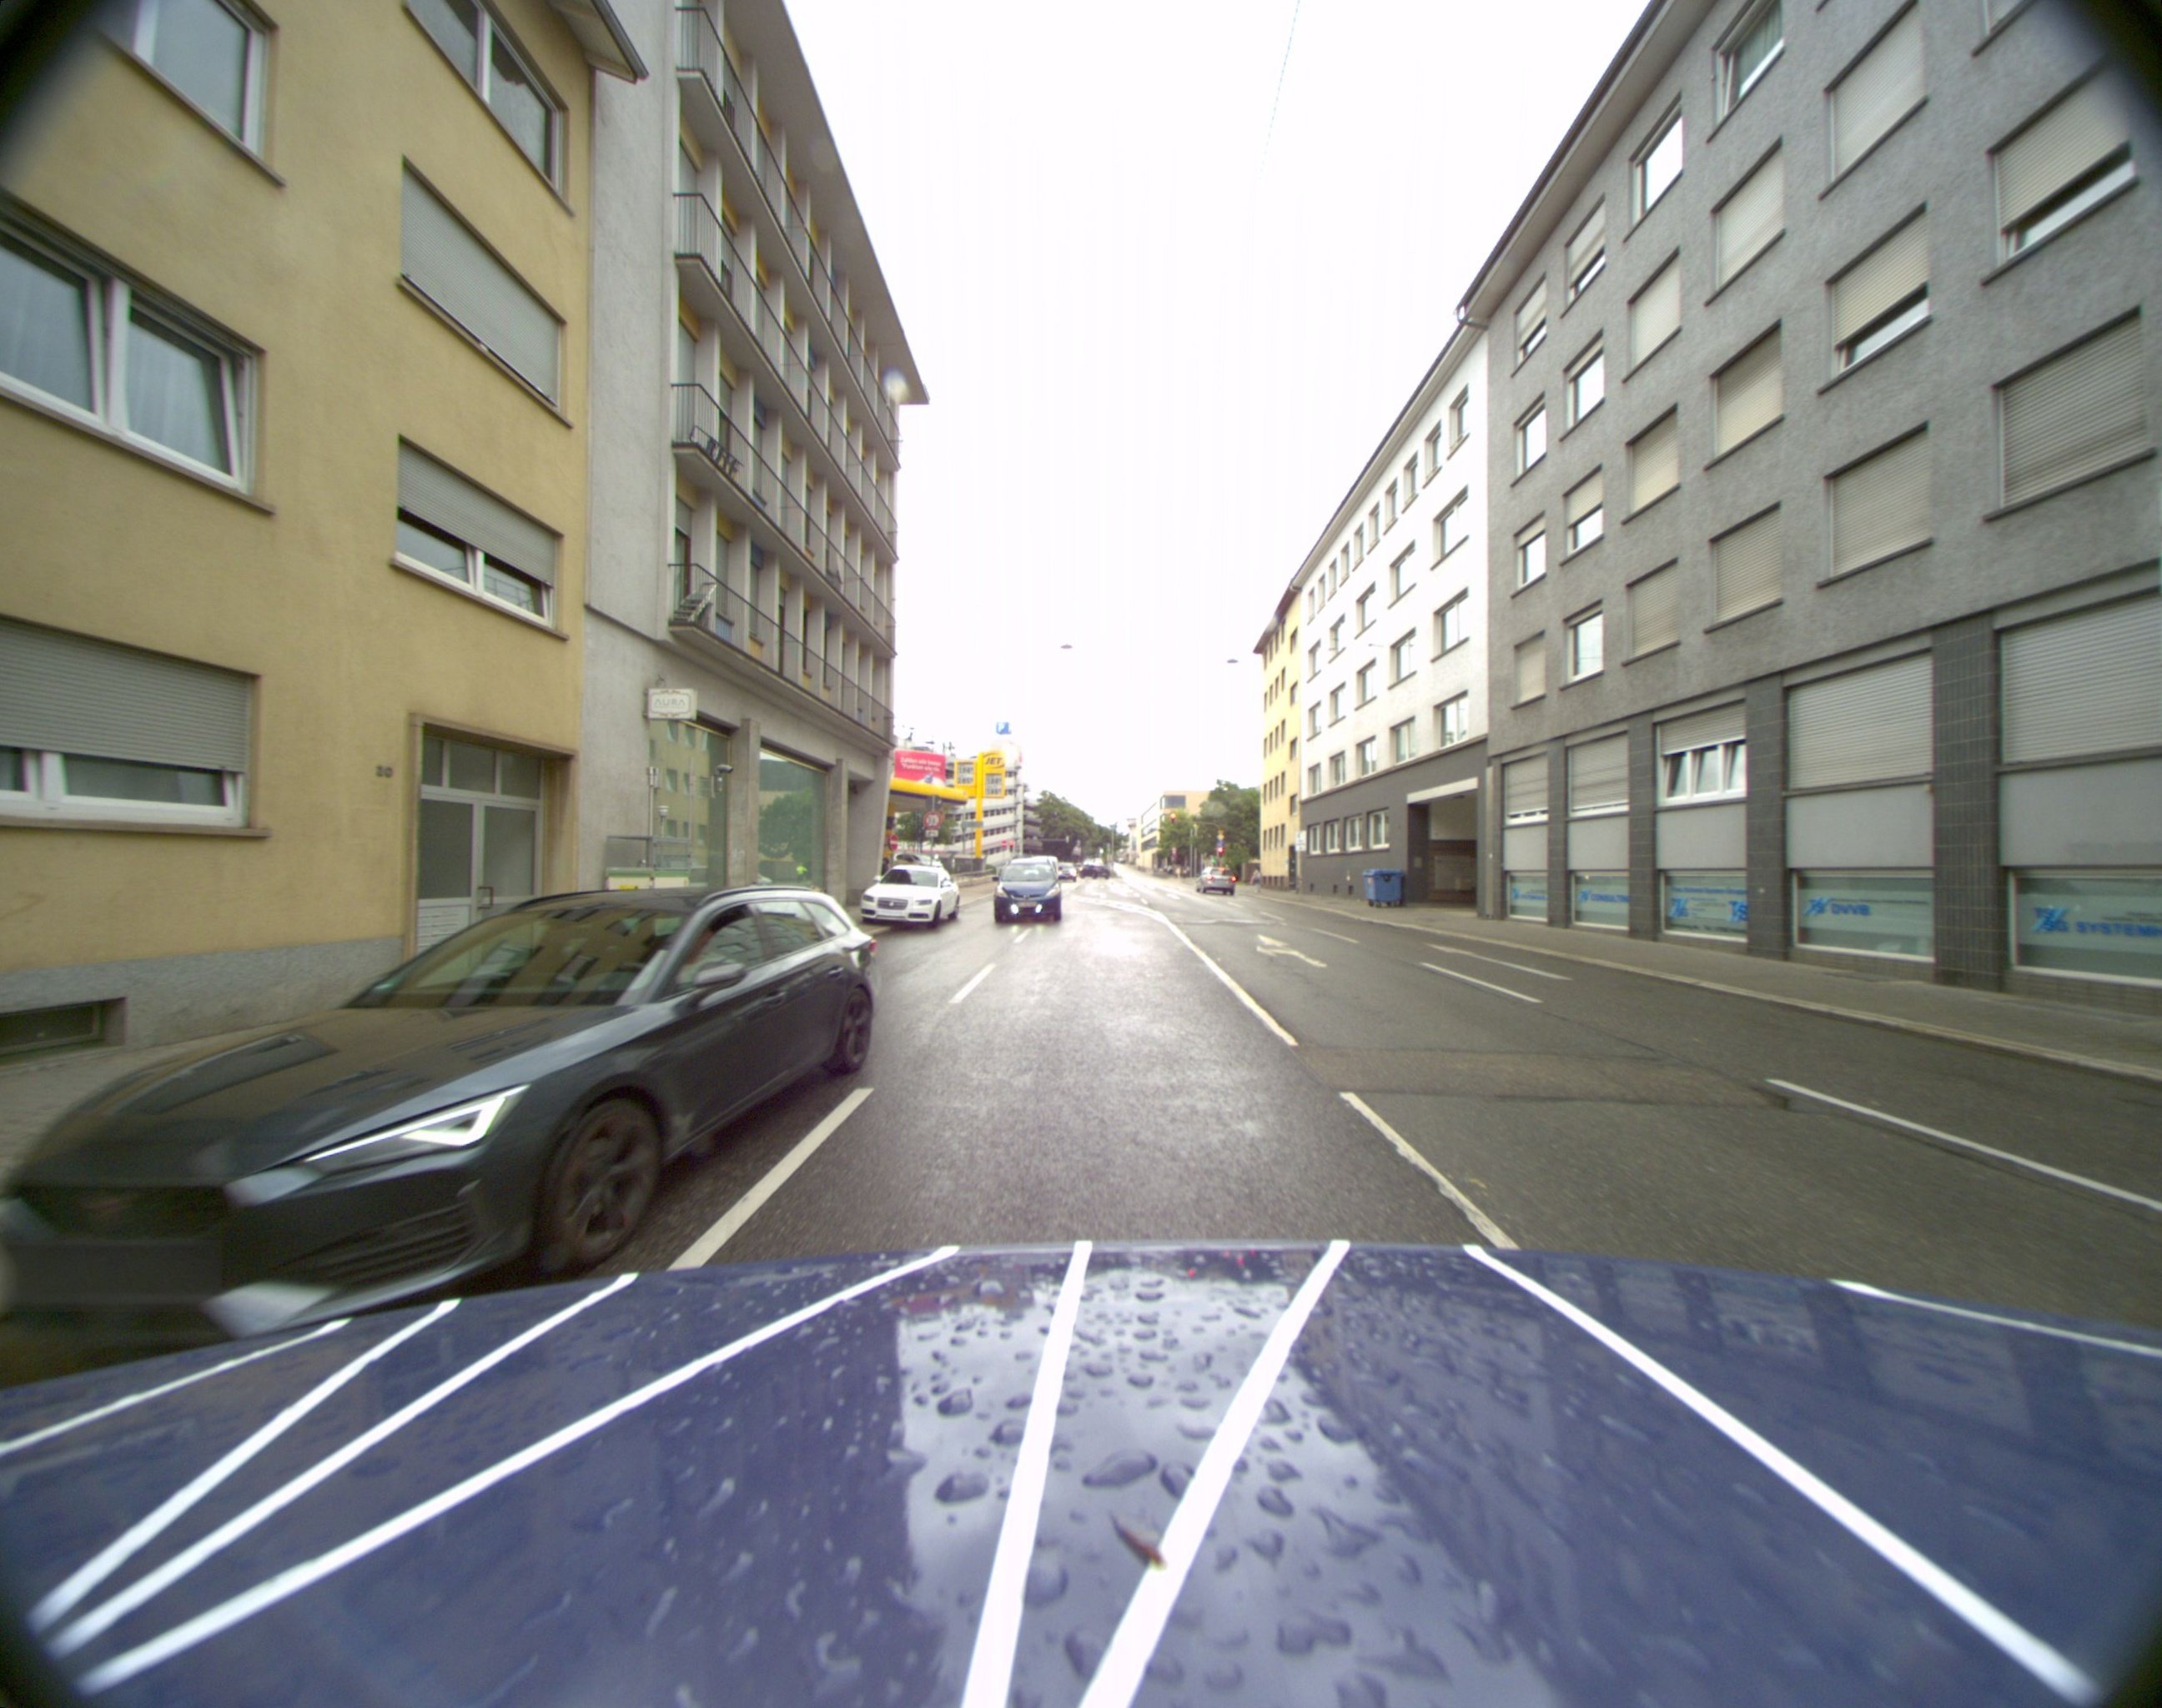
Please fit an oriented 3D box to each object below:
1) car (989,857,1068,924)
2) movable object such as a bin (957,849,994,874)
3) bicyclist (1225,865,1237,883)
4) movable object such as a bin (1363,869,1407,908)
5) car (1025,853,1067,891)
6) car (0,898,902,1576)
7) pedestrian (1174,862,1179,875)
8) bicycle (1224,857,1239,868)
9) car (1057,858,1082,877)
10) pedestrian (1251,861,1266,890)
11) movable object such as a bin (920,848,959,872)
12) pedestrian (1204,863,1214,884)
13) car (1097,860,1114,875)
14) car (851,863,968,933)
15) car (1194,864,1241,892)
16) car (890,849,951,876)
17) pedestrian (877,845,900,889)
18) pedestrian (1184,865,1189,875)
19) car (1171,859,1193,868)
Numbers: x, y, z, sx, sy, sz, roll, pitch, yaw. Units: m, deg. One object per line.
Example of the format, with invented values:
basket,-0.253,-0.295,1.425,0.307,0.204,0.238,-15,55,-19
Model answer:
car,-1.339,0.934,20.993,1.846,1.646,4.000,0,0,1
movable object such as a bin,-7.054,0.499,51.049,2.160,1.565,1.773,1,0,2
bicyclist,12.131,1.621,61.449,0.844,1.433,0.813,-1,0,4
movable object such as a bin,10.704,1.185,26.760,1.079,1.316,1.191,-1,0,2
car,-1.783,0.933,39.834,1.804,1.817,3.951,-2,-1,3
car,-2.613,1.061,4.175,1.738,1.380,4.585,-1,0,6
pedestrian,13.295,2.046,106.169,0.595,1.761,0.692,-1,0,1
bicycle,12.167,0.701,61.438,0.887,0.902,1.867,-1,0,4
car,-0.972,1.128,64.112,1.804,1.561,3.951,-2,-1,3
pedestrian,10.414,1.233,44.601,0.719,1.679,0.811,-1,0,4
movable object such as a bin,-9.492,0.394,50.965,2.160,1.546,1.773,2,0,2
pedestrian,10.620,1.606,62.854,0.719,1.679,0.811,-1,0,4
car,2.707,1.495,83.805,1.812,1.585,4.296,1,-1,3
car,-4.220,1.019,19.502,1.898,1.394,4.608,5,0,0
car,7.552,1.296,42.330,1.831,1.408,4.296,4,-1,1
car,-9.959,0.506,47.067,1.750,1.433,3.987,2,1,-45
pedestrian,-7.990,0.548,31.581,0.661,1.761,0.528,2,1,-40
pedestrian,14.789,2.239,106.031,0.622,1.368,0.475,-1,0,2
car,18.493,1.737,139.459,3.995,1.575,2.001,-1,0,6
